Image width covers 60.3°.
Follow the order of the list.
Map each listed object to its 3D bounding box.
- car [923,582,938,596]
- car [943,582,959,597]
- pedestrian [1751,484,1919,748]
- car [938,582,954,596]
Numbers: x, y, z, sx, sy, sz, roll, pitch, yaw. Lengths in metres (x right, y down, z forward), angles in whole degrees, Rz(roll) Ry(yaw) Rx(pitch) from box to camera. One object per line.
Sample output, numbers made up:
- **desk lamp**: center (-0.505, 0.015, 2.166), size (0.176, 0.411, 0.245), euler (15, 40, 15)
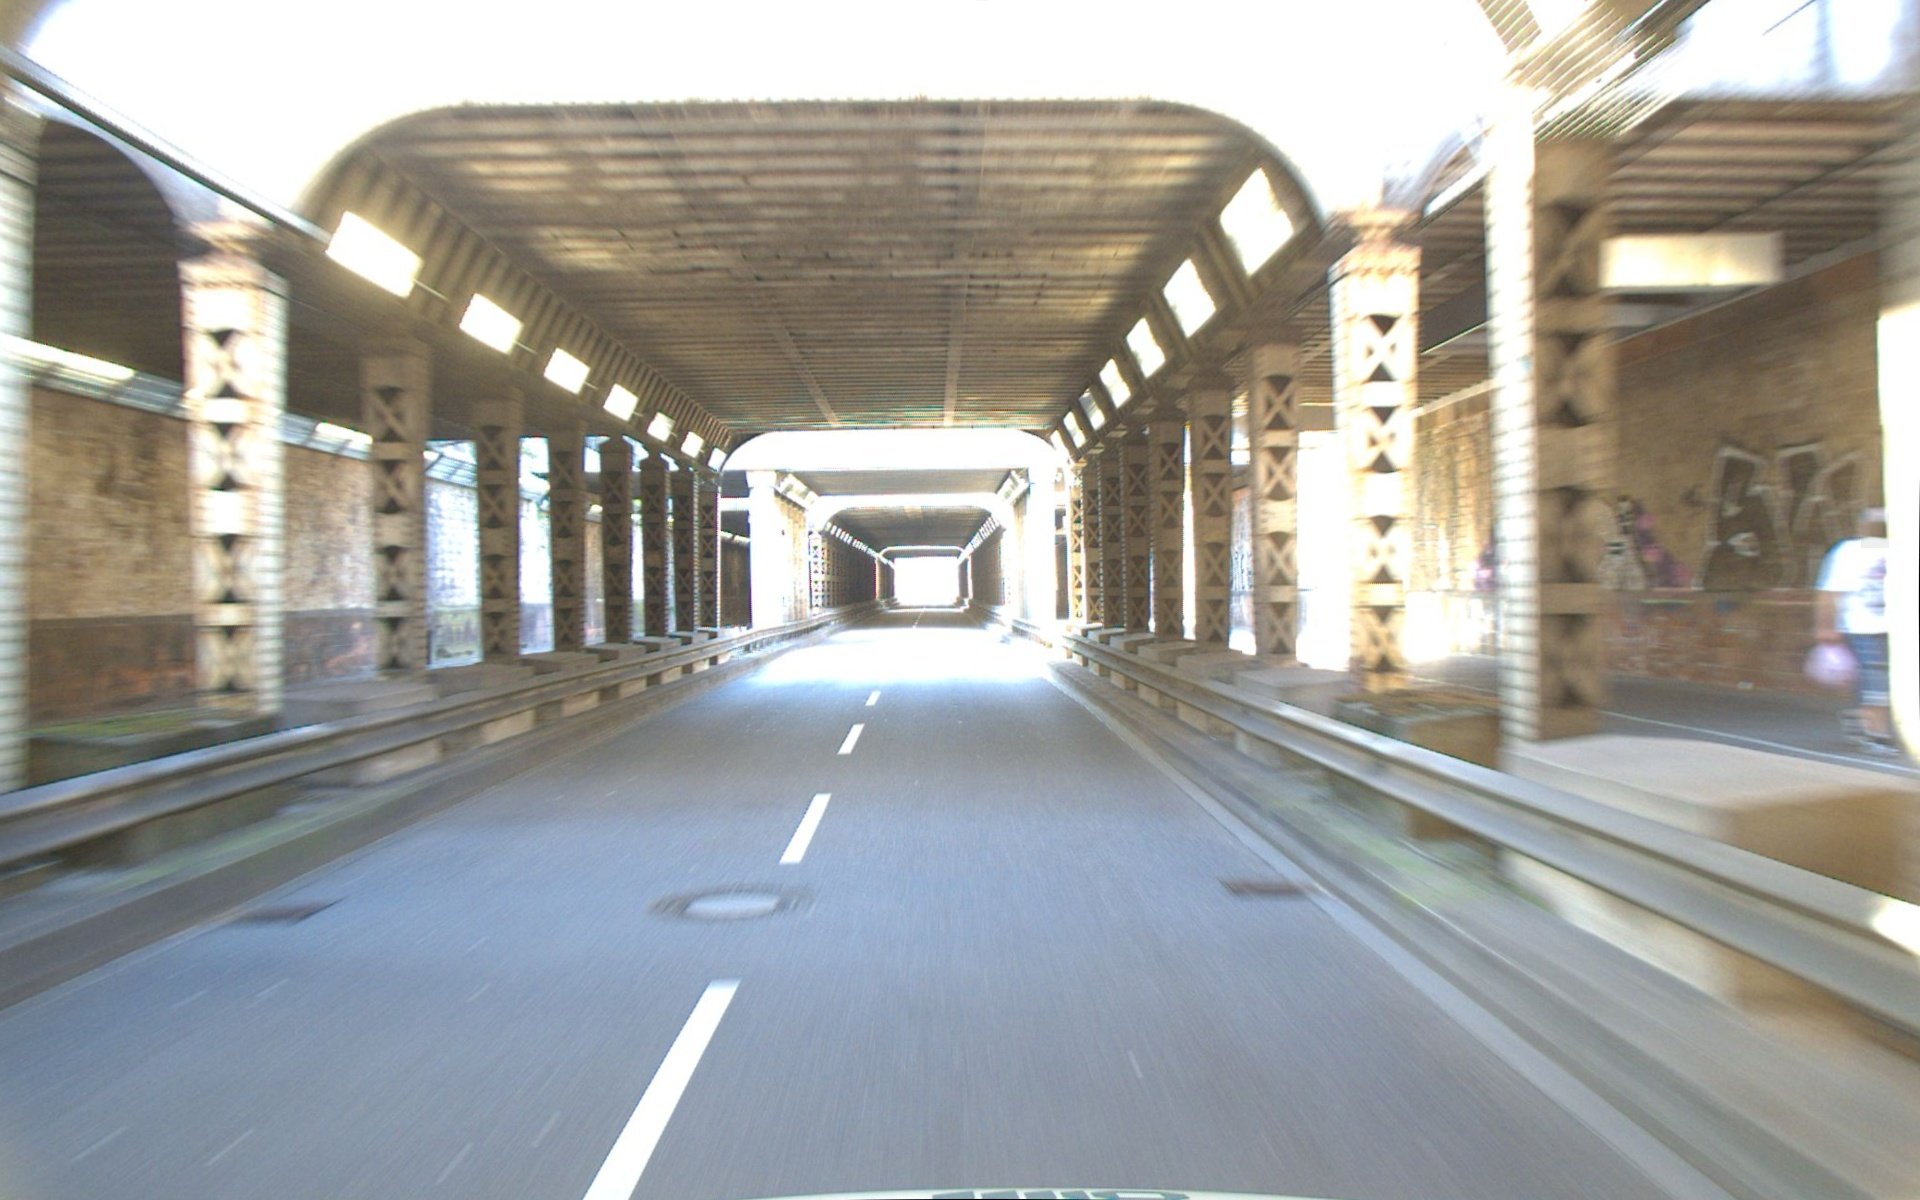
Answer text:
- **car**: center (-3.890, -1.486, 219.405), size (1.953, 1.815, 3.999), euler (-1, 0, -1)
- **car**: center (-1.085, -1.249, 203.727), size (1.953, 1.815, 3.999), euler (-1, 0, -1)
- **pedestrian**: center (6.639, 0.107, 12.400), size (0.863, 1.867, 0.922), euler (-3, 0, -4)
- **car**: center (-1.831, -1.419, 212.965), size (1.953, 1.815, 3.999), euler (-1, 0, -1)
